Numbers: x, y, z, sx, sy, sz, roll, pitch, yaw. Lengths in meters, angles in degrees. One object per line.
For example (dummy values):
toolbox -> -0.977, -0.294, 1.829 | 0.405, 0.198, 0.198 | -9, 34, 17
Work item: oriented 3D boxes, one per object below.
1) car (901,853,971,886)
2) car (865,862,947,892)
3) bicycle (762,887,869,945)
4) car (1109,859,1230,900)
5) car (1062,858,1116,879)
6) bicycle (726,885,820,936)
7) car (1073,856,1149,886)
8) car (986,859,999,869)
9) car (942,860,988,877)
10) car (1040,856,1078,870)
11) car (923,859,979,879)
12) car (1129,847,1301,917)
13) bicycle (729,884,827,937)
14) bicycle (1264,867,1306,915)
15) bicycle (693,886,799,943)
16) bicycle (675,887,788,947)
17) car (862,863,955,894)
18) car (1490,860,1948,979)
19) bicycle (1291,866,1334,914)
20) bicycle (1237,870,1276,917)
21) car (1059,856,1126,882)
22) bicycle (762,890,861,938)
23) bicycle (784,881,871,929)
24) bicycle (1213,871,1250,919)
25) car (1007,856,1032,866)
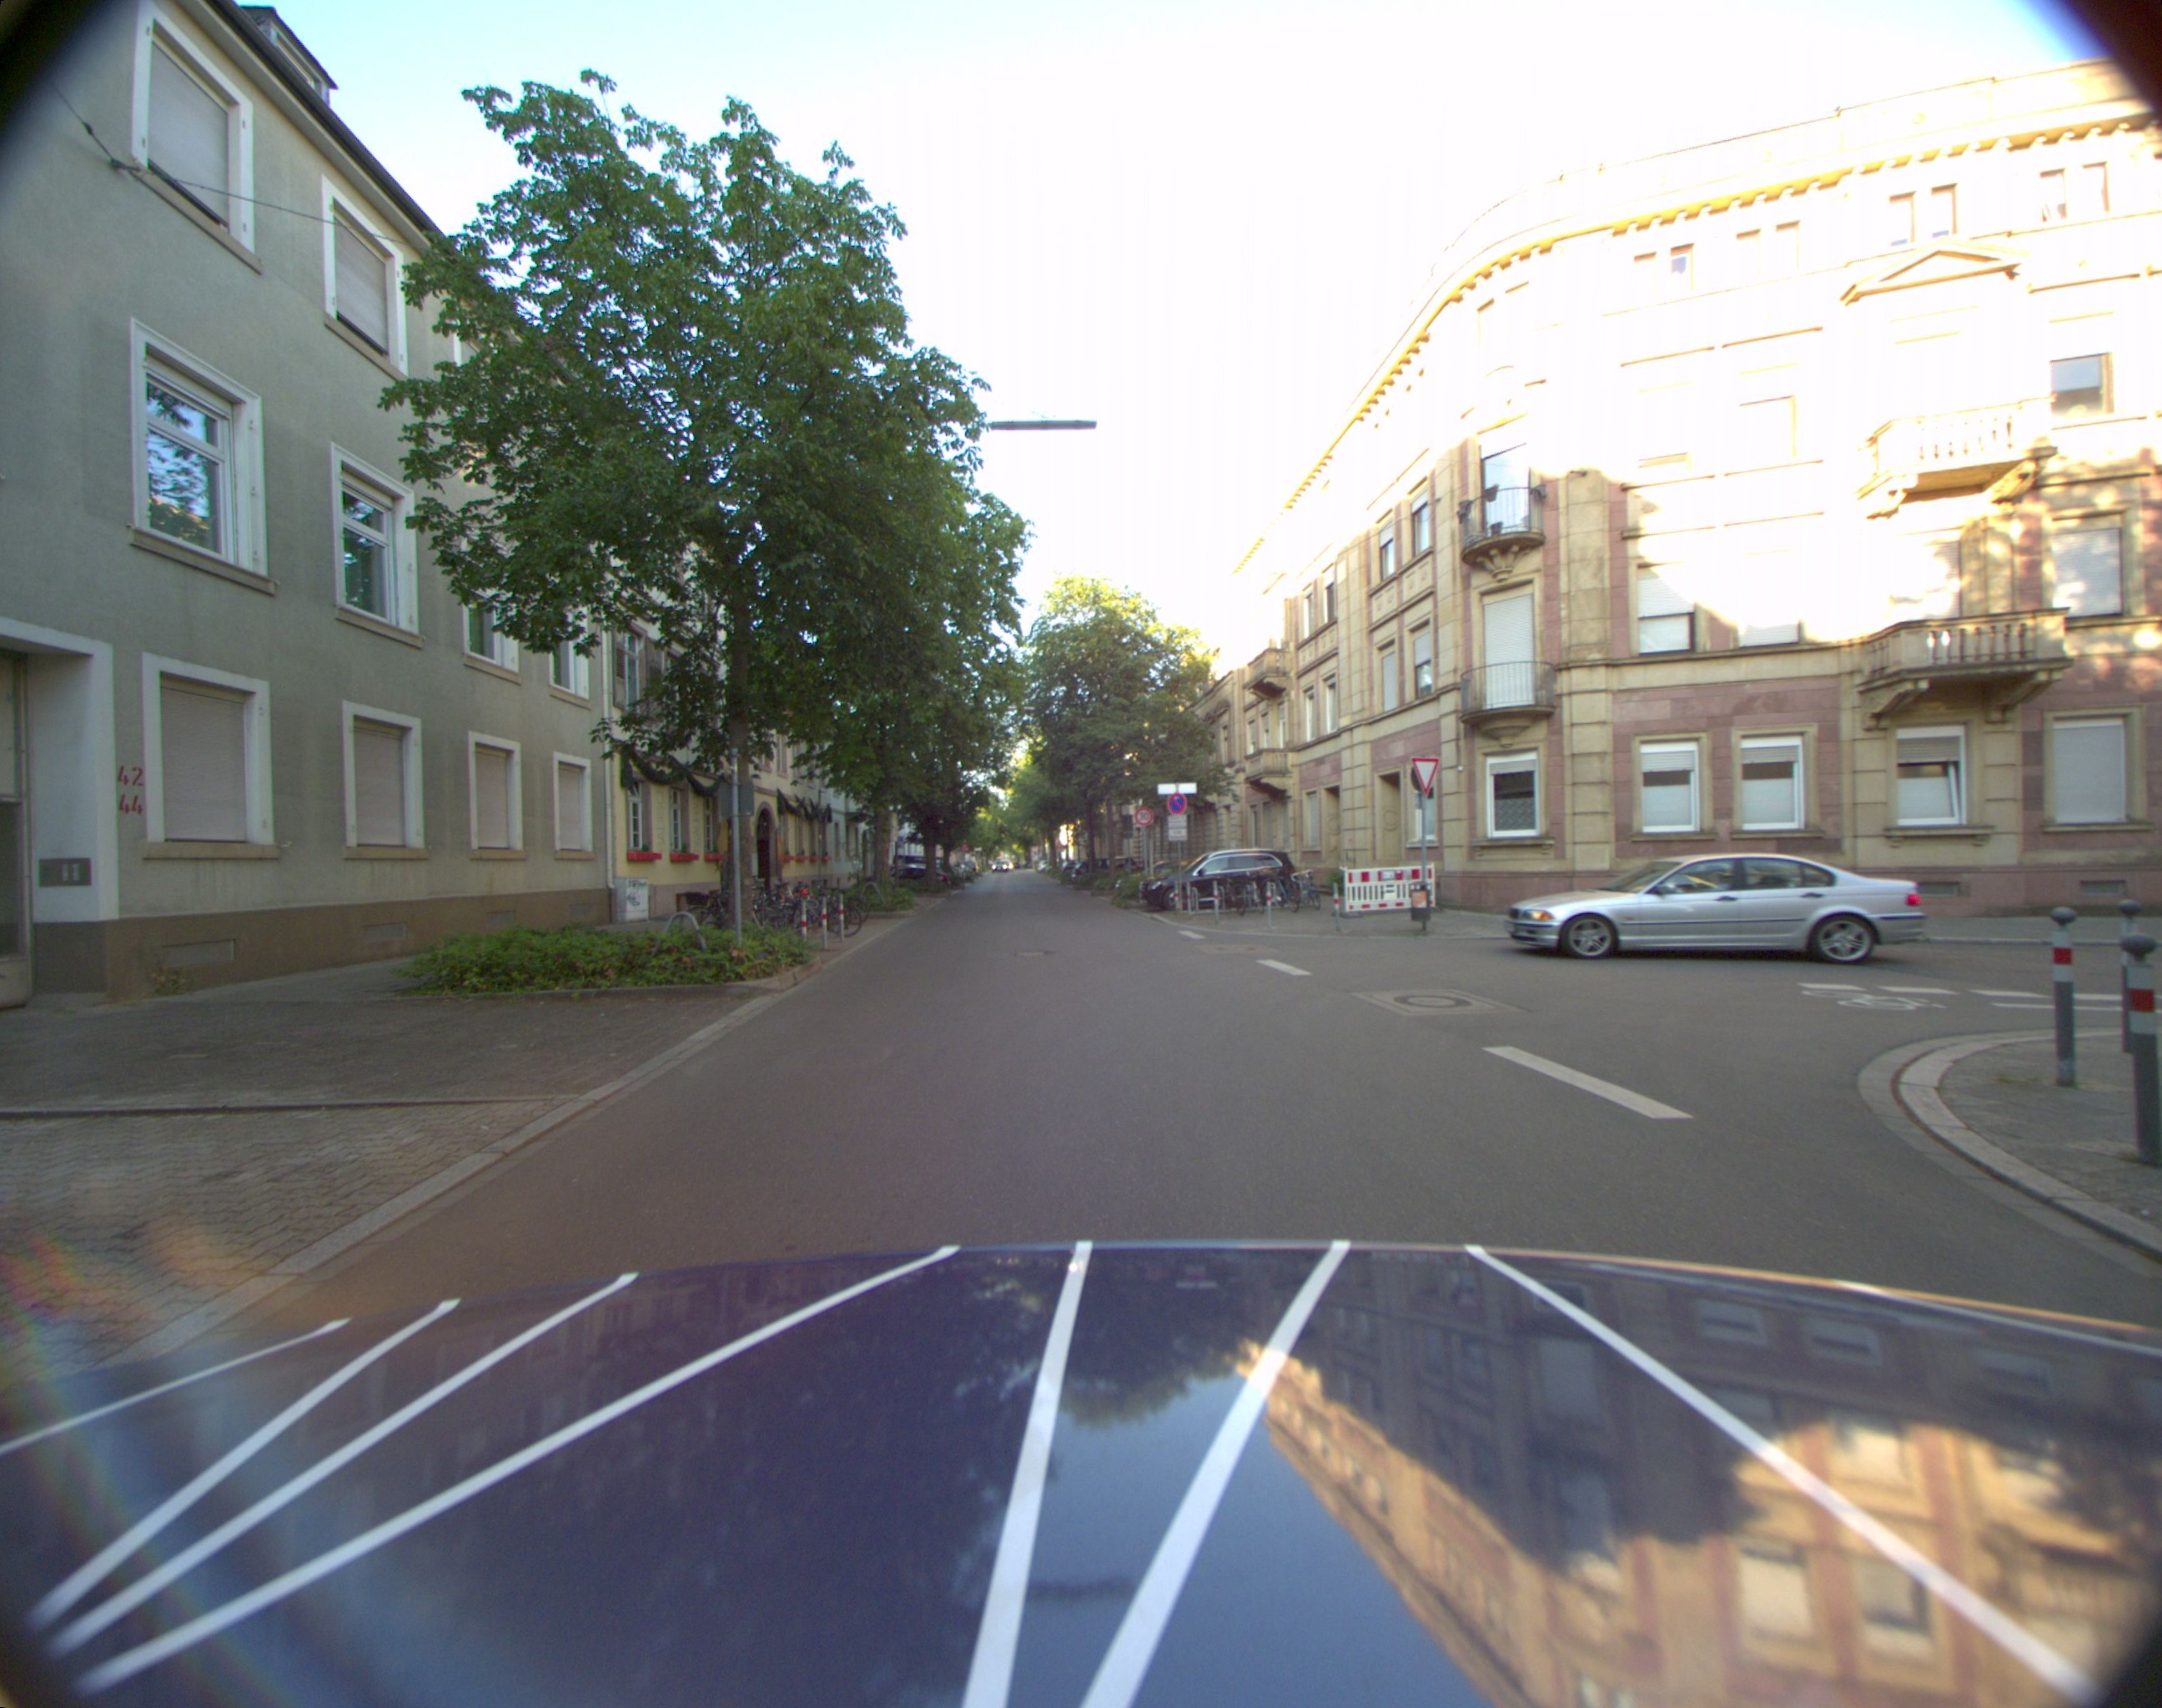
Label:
car -> -9.805, 1.042, 51.670 | 4.444, 2.110, 1.776 | -1, 0, -4
car -> -10.233, 1.345, 44.755 | 4.444, 1.603, 1.776 | -1, 0, -4
bicycle -> -5.567, 1.288, 15.981 | 2.041, 1.139, 0.446 | -1, 0, -4
car -> 3.433, 0.982, 29.909 | 4.444, 1.478, 1.776 | -1, 0, -4
car -> 0.598, 1.098, 58.695 | 4.032, 1.474, 1.776 | -1, 0, -4
bicycle -> -7.395, 1.353, 18.287 | 2.042, 1.139, 0.421 | -1, 0, -6
car -> 1.779, 1.018, 46.026 | 4.444, 1.728, 1.776 | -1, 0, -4
car -> -12.988, 1.505, 111.856 | 1.828, 1.364, 3.998 | -1, 0, -5
car -> -11.773, 1.428, 77.077 | 4.444, 1.603, 1.776 | -1, 0, -4
car -> -2.671, 1.102, 91.339 | 4.444, 1.638, 1.776 | -1, 0, -4
car -> -10.967, 1.258, 64.332 | 4.444, 1.603, 1.776 | -1, 0, -4
car -> 3.822, 0.759, 22.184 | 4.590, 1.728, 1.775 | -3, 1, -4
bicycle -> -7.004, 1.306, 17.633 | 2.042, 1.139, 0.421 | -1, 0, -6
bicycle -> 5.168, 0.918, 19.336 | 0.364, 1.083, 1.869 | -3, 1, -5
bicycle -> -7.203, 1.286, 16.389 | 2.042, 1.139, 0.421 | -1, 0, -6
bicycle -> -7.054, 1.262, 15.374 | 2.041, 1.139, 0.446 | -1, 0, -2
car -> -8.852, 1.250, 39.275 | 4.444, 1.496, 1.776 | -1, 0, -4
car -> 8.271, 0.825, 10.353 | 4.462, 1.395, 1.685 | -1, -1, 16
bicycle -> 5.884, 0.894, 19.407 | 0.364, 1.083, 1.869 | -3, 1, -5
bicycle -> 4.460, 0.982, 19.409 | 0.364, 1.083, 1.869 | -3, 1, -5
car -> 0.774, 1.043, 52.988 | 4.444, 1.728, 1.776 | -1, 0, -4
bicycle -> -6.067, 1.354, 17.175 | 2.042, 0.998, 0.421 | -1, 0, -6
bicycle -> -6.458, 1.290, 19.438 | 2.042, 1.139, 0.421 | -1, 0, -6
bicycle -> 3.794, 1.014, 19.255 | 0.364, 1.083, 1.869 | -3, 1, -5
car -> -9.808, 1.125, 121.348 | 1.772, 1.523, 4.029 | -1, 0, 34
